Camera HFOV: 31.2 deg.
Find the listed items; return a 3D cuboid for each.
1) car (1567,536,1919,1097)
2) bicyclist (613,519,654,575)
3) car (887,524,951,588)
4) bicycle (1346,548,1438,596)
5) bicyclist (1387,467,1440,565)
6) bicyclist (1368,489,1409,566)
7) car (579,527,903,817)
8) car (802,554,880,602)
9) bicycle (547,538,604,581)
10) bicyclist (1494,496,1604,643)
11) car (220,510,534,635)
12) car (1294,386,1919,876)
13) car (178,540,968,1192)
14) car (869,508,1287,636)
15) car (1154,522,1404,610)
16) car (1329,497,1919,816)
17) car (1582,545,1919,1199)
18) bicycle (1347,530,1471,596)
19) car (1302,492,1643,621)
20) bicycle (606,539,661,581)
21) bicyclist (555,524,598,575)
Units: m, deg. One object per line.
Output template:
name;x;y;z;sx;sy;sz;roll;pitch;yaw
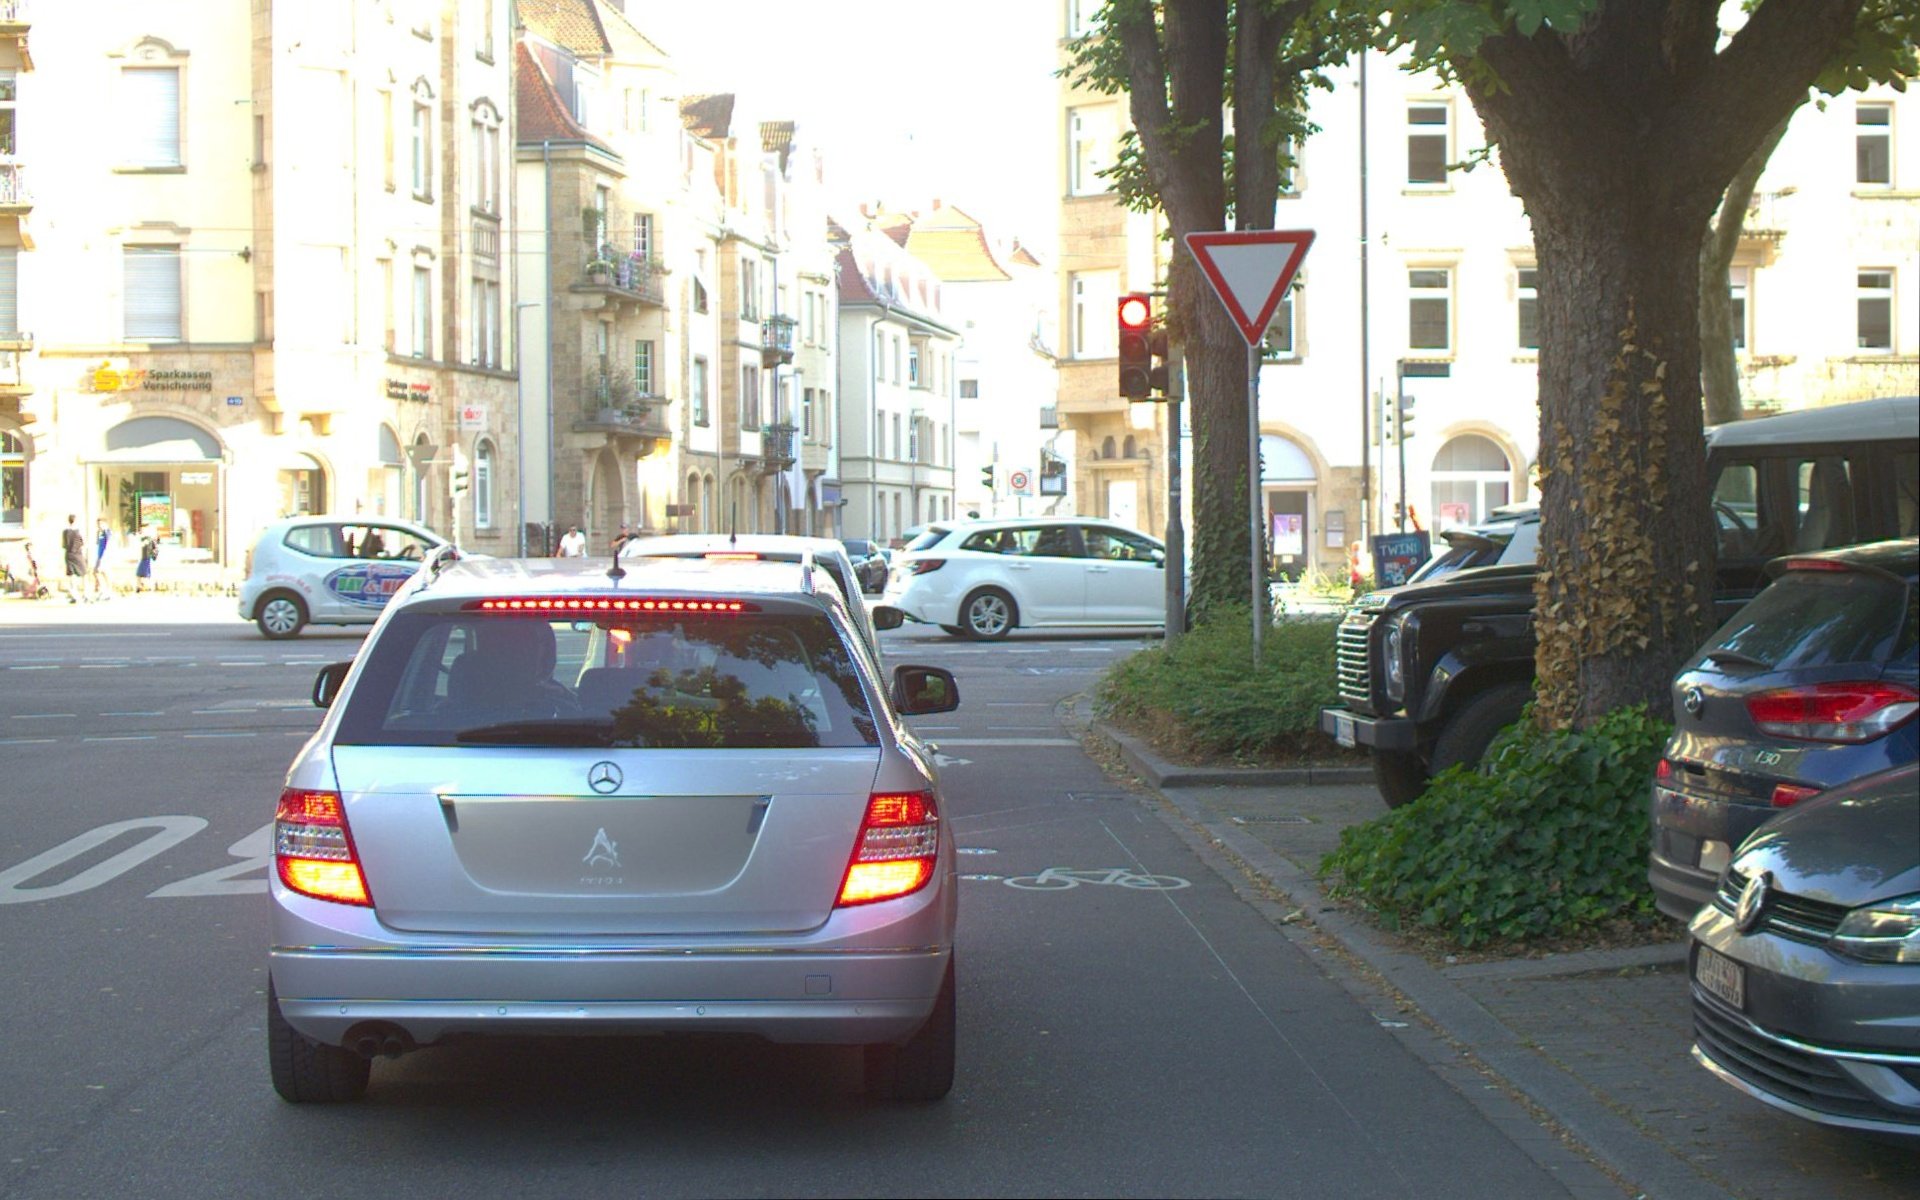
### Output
car;3.826;0.519;9.993;3.723;1.447;1.709;-1;1;-4
bicyclist;-7.476;-1.218;78.771;0.771;1.285;0.752;1;2;10
car;-1.447;-1.593;122.730;1.787;2.196;3.999;0;2;7
bicycle;8.085;-0.530;64.400;1.617;0.873;0.637;0;1;-6
bicyclist;8.661;-1.605;65.650;0.891;1.853;0.637;0;1;-5
bicyclist;8.024;-1.356;64.362;0.643;1.421;0.637;0;1;-6
car;-1.211;0.317;19.434;1.619;1.442;4.345;0;1;-3
car;-3.717;-0.704;107.890;1.835;1.397;3.999;0;2;7
bicycle;-8.800;-0.934;78.673;0.771;0.936;1.939;1;2;10
bicyclist;6.673;-0.355;38.985;0.997;1.648;0.807;0;1;-12
car;-7.066;-0.351;41.796;3.685;1.444;1.516;-1;1;-9
car;3.888;0.087;15.558;4.464;2.029;1.701;-1;1;-4
car;-0.990;0.567;10.068;1.777;1.447;4.549;0;1;-3
car;1.364;-0.352;40.489;4.660;1.443;1.740;-1;1;-10
car;4.425;-0.484;47.843;3.221;1.177;1.320;-1;1;-9
car;4.005;0.258;18.538;3.723;1.564;1.709;-1;1;-4
car;3.634;0.574;7.773;4.052;1.447;1.723;-1;1;-4
bicycle;8.571;-0.715;65.664;2.256;1.242;0.637;0;1;-5
car;6.526;-0.572;43.954;3.965;1.576;1.740;-1;1;-9
bicycle;-7.478;-0.925;78.777;0.771;0.930;1.939;1;2;10
bicyclist;-8.783;-1.156;78.746;0.771;1.152;0.752;1;2;10
